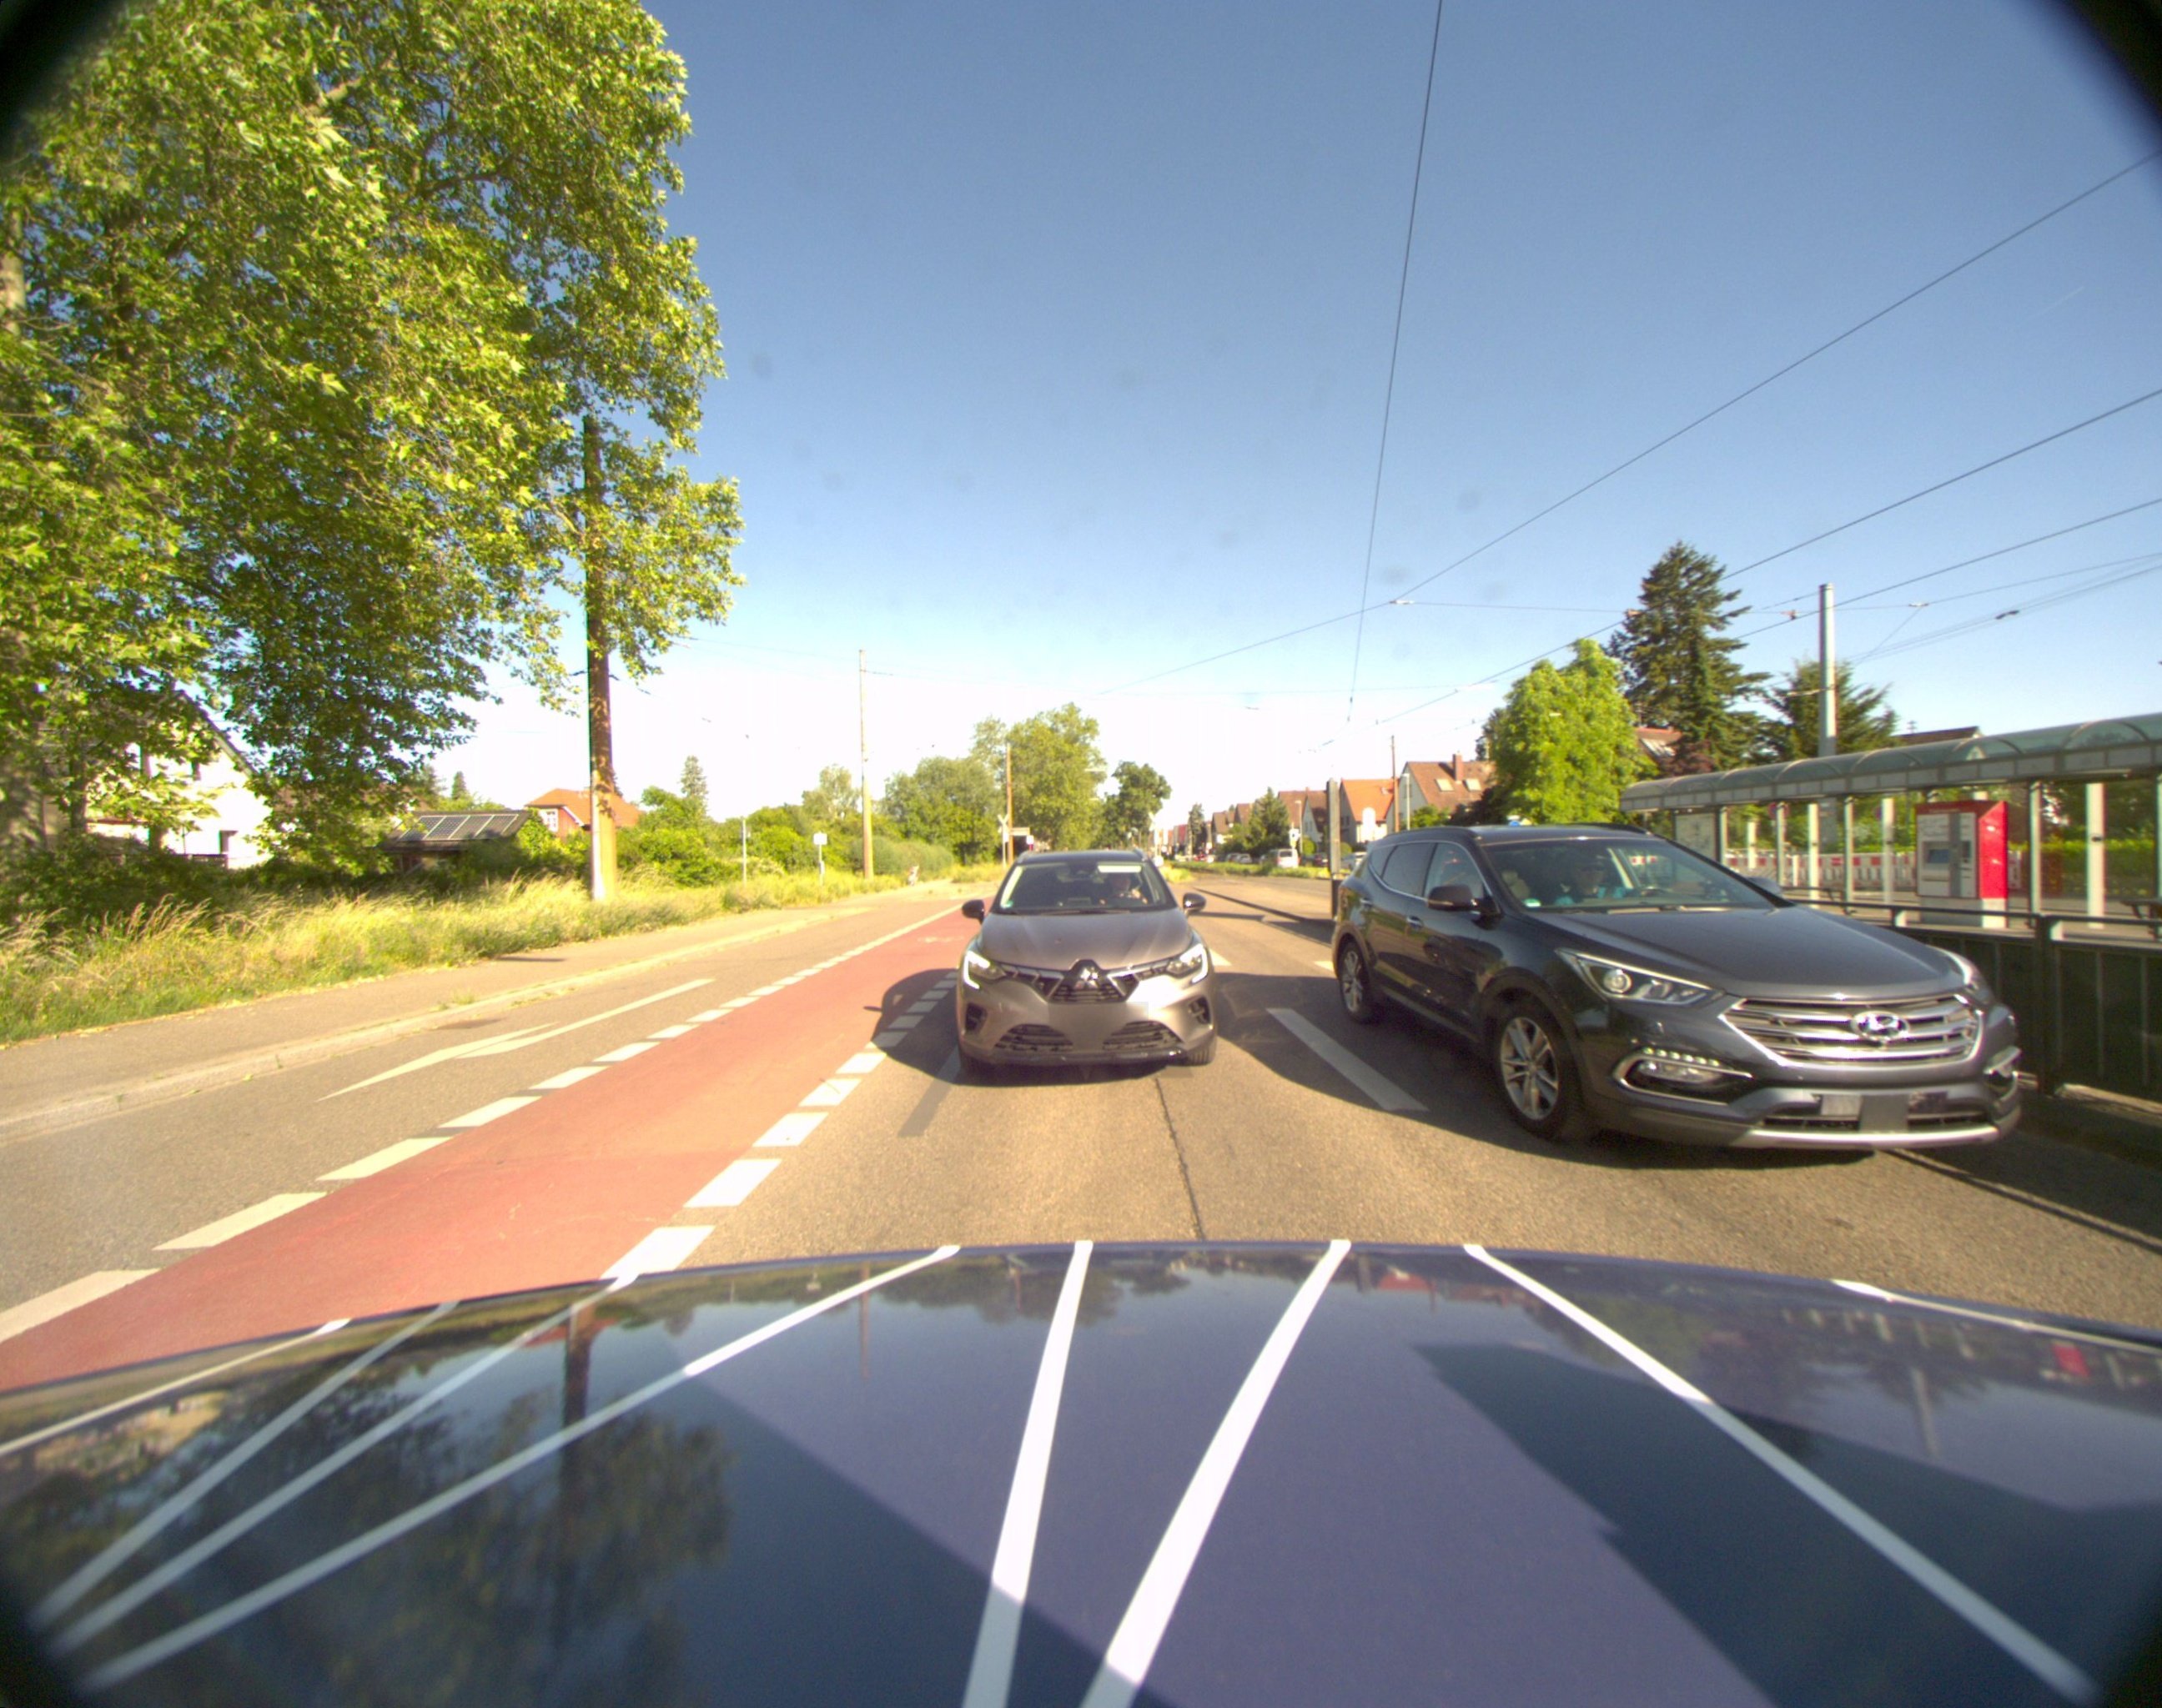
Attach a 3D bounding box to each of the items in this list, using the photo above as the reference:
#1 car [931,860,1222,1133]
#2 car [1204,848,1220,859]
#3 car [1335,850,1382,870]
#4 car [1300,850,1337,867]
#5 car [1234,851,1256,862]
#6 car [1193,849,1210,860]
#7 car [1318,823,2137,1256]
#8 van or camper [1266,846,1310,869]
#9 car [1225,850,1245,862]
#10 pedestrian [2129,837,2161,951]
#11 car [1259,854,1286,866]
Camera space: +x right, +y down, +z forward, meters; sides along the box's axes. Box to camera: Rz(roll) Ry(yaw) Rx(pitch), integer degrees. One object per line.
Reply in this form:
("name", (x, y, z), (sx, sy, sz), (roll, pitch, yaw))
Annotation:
("car", (-0.042, 0.856, 6.274), (1.673, 1.529, 3.586), (-2, 0, -1))
("car", (22.065, -0.109, 127.956), (1.998, 1.852, 4.584), (-2, 0, 1))
("car", (21.721, 0.447, 59.587), (1.888, 1.464, 4.613), (-3, 1, -1))
("car", (21.616, 0.399, 69.377), (1.912, 1.457, 4.440), (-3, 1, 0))
("car", (22.057, 0.328, 102.354), (1.888, 1.464, 4.838), (-3, 0, 1))
("car", (17.135, 0.129, 108.191), (1.740, 1.511, 4.344), (-1, 0, 0))
("car", (3.130, 0.710, 5.031), (1.780, 1.620, 4.288), (-1, 0, 0))
("van or camper", (17.177, 0.267, 63.337), (1.998, 1.817, 5.987), (-1, 0, 0))
("car", (21.798, 0.279, 107.407), (1.888, 1.552, 4.536), (-3, 0, 0))
("pedestrian", (14.227, 0.503, 9.421), (1.063, 1.444, 1.007), (-1, 1, 0))
("car", (22.125, 0.660, 87.981), (1.998, 1.363, 4.310), (-2, 0, 1))
